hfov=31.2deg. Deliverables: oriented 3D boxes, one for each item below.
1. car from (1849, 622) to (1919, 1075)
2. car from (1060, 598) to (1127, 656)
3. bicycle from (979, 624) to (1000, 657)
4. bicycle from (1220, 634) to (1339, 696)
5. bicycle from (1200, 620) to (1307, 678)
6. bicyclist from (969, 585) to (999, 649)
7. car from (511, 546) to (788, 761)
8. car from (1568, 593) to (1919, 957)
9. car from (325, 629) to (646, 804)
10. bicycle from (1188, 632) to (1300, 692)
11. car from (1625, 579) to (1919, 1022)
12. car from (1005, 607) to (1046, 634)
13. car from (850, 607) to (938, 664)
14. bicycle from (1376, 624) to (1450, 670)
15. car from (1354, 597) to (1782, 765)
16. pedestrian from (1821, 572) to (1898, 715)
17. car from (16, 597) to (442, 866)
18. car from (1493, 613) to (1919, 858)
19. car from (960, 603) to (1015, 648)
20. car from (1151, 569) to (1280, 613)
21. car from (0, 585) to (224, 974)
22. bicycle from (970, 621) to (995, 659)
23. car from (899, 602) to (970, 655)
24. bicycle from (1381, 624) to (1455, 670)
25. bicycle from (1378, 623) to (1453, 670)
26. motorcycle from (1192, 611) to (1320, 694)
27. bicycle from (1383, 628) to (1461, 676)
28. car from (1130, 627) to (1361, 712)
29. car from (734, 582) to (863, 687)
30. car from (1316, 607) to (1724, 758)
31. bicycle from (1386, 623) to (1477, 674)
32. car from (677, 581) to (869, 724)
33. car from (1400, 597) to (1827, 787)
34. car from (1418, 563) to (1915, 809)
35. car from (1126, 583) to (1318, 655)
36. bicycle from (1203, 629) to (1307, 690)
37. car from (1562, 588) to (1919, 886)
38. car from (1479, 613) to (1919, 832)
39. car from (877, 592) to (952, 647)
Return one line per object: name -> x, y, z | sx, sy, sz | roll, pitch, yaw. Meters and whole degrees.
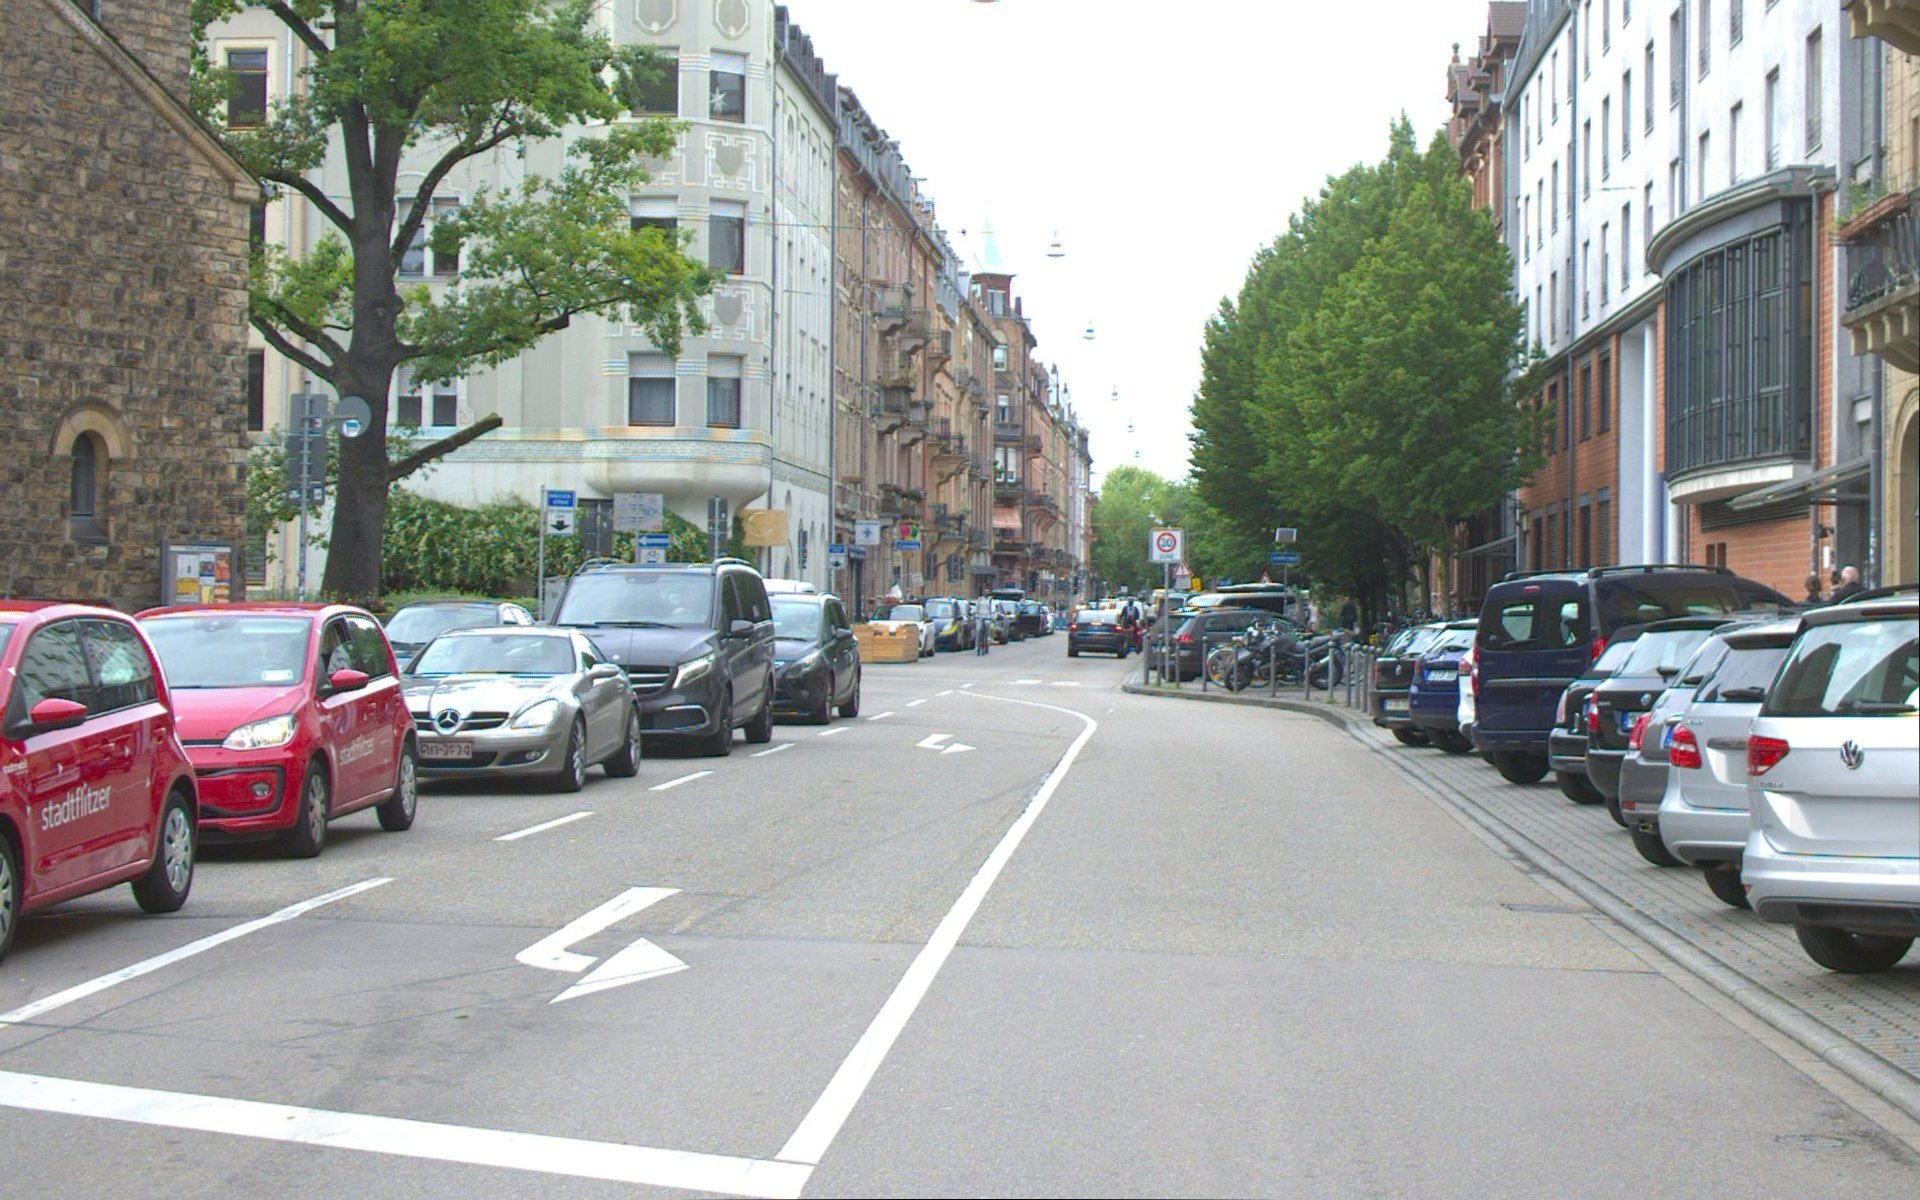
car -> 5.018, 0.756, 11.989 | 3.577, 1.503, 1.849 | -2, -1, -38
car -> 4.153, 0.854, 106.397 | 1.994, 1.675, 3.999 | 1, -1, 3
bicycle -> 0.916, 1.259, 105.805 | 0.535, 0.974, 1.865 | 1, -1, 3
bicycle -> 5.564, 1.134, 59.904 | 2.009, 1.059, 0.612 | 0, -2, 1
bicycle -> 5.302, 0.894, 62.204 | 1.883, 1.040, 0.612 | 0, -2, 1
bicyclist -> 0.720, 0.490, 101.397 | 0.782, 1.860, 0.714 | 1, 0, 5
car -> -3.024, 0.495, 34.627 | 1.912, 1.948, 5.283 | 1, 0, 4
car -> 5.648, 0.803, 18.028 | 4.737, 1.679, 1.936 | -1, -1, -32
car -> -3.734, 0.898, 27.718 | 1.705, 1.282, 4.041 | -1, -1, 5
bicycle -> 5.011, 1.098, 60.730 | 1.929, 1.040, 0.612 | 0, -2, 1
car -> 5.109, 0.760, 14.672 | 4.211, 1.677, 1.916 | 0, -1, -30
car -> 3.247, 1.012, 171.712 | 1.993, 1.317, 4.000 | 1, 0, 0
car -> -1.795, 0.977, 94.602 | 1.944, 1.548, 3.816 | 0, -1, 6
bicycle -> 11.261, 1.173, 85.450 | 1.753, 1.088, 0.565 | 1, -2, 4
car -> 6.363, 0.800, 35.970 | 3.986, 1.528, 1.932 | -2, 1, -25
pedestrian -> 9.719, 0.471, 37.163 | 0.561, 1.524, 0.554 | 3, -2, -39
car -> -4.294, 0.747, 20.723 | 1.602, 1.452, 3.717 | -1, -1, 3
car -> 6.000, 0.875, 24.009 | 4.451, 1.547, 1.852 | 0, 0, -35
car -> 1.122, 1.049, 139.238 | 1.944, 1.736, 3.942 | 2, -1, 4
car -> 11.167, -0.378, 150.132 | 5.385, 1.861, 1.951 | 0, -1, -26
car -> -4.549, 0.720, 14.832 | 1.649, 1.523, 3.893 | -1, 0, 4
bicycle -> 0.662, 1.184, 101.262 | 0.567, 1.084, 1.986 | 1, 0, 5
car -> -0.810, 0.936, 111.220 | 1.944, 1.611, 3.942 | 2, -1, 4
bicycle -> 11.280, 1.155, 84.679 | 1.753, 1.088, 0.565 | 1, -2, 4
bicycle -> 11.116, 1.131, 83.844 | 1.753, 1.088, 0.565 | 1, -2, 4
motorcycle -> 5.057, 0.903, 58.860 | 2.134, 1.425, 0.771 | 0, -2, 1
bicycle -> 10.801, 1.219, 80.396 | 1.753, 1.088, 0.565 | 1, -2, 4
car -> 5.712, 1.369, 68.683 | 4.273, 1.573, 1.864 | -1, 0, -29
car -> -3.118, 0.655, 67.164 | 1.843, 1.933, 4.547 | 2, 0, 6
car -> 6.338, 0.898, 38.913 | 4.245, 1.473, 1.685 | -2, 1, -20
bicycle -> 10.526, 1.084, 76.787 | 1.933, 1.088, 0.577 | 1, -2, 4
car -> -2.329, 0.637, 43.967 | 1.845, 1.678, 4.547 | 1, 0, 4
car -> 6.349, 0.842, 33.257 | 3.988, 1.596, 1.765 | -3, 1, -36
car -> 6.230, 0.688, 30.123 | 4.270, 1.900, 1.879 | -2, 1, -37
car -> 7.818, 0.582, 102.379 | 5.606, 2.120, 1.950 | 0, -1, -30
bicycle -> 5.525, 1.119, 64.438 | 1.883, 1.137, 0.612 | 0, -2, 1
car -> 5.919, 0.730, 20.961 | 4.451, 1.568, 1.747 | -2, 1, -35
car -> 6.342, 0.920, 27.261 | 4.058, 1.448, 2.031 | -3, 0, -35
car -> -1.375, 0.609, 106.027 | 1.944, 1.611, 3.942 | 2, -1, 4
